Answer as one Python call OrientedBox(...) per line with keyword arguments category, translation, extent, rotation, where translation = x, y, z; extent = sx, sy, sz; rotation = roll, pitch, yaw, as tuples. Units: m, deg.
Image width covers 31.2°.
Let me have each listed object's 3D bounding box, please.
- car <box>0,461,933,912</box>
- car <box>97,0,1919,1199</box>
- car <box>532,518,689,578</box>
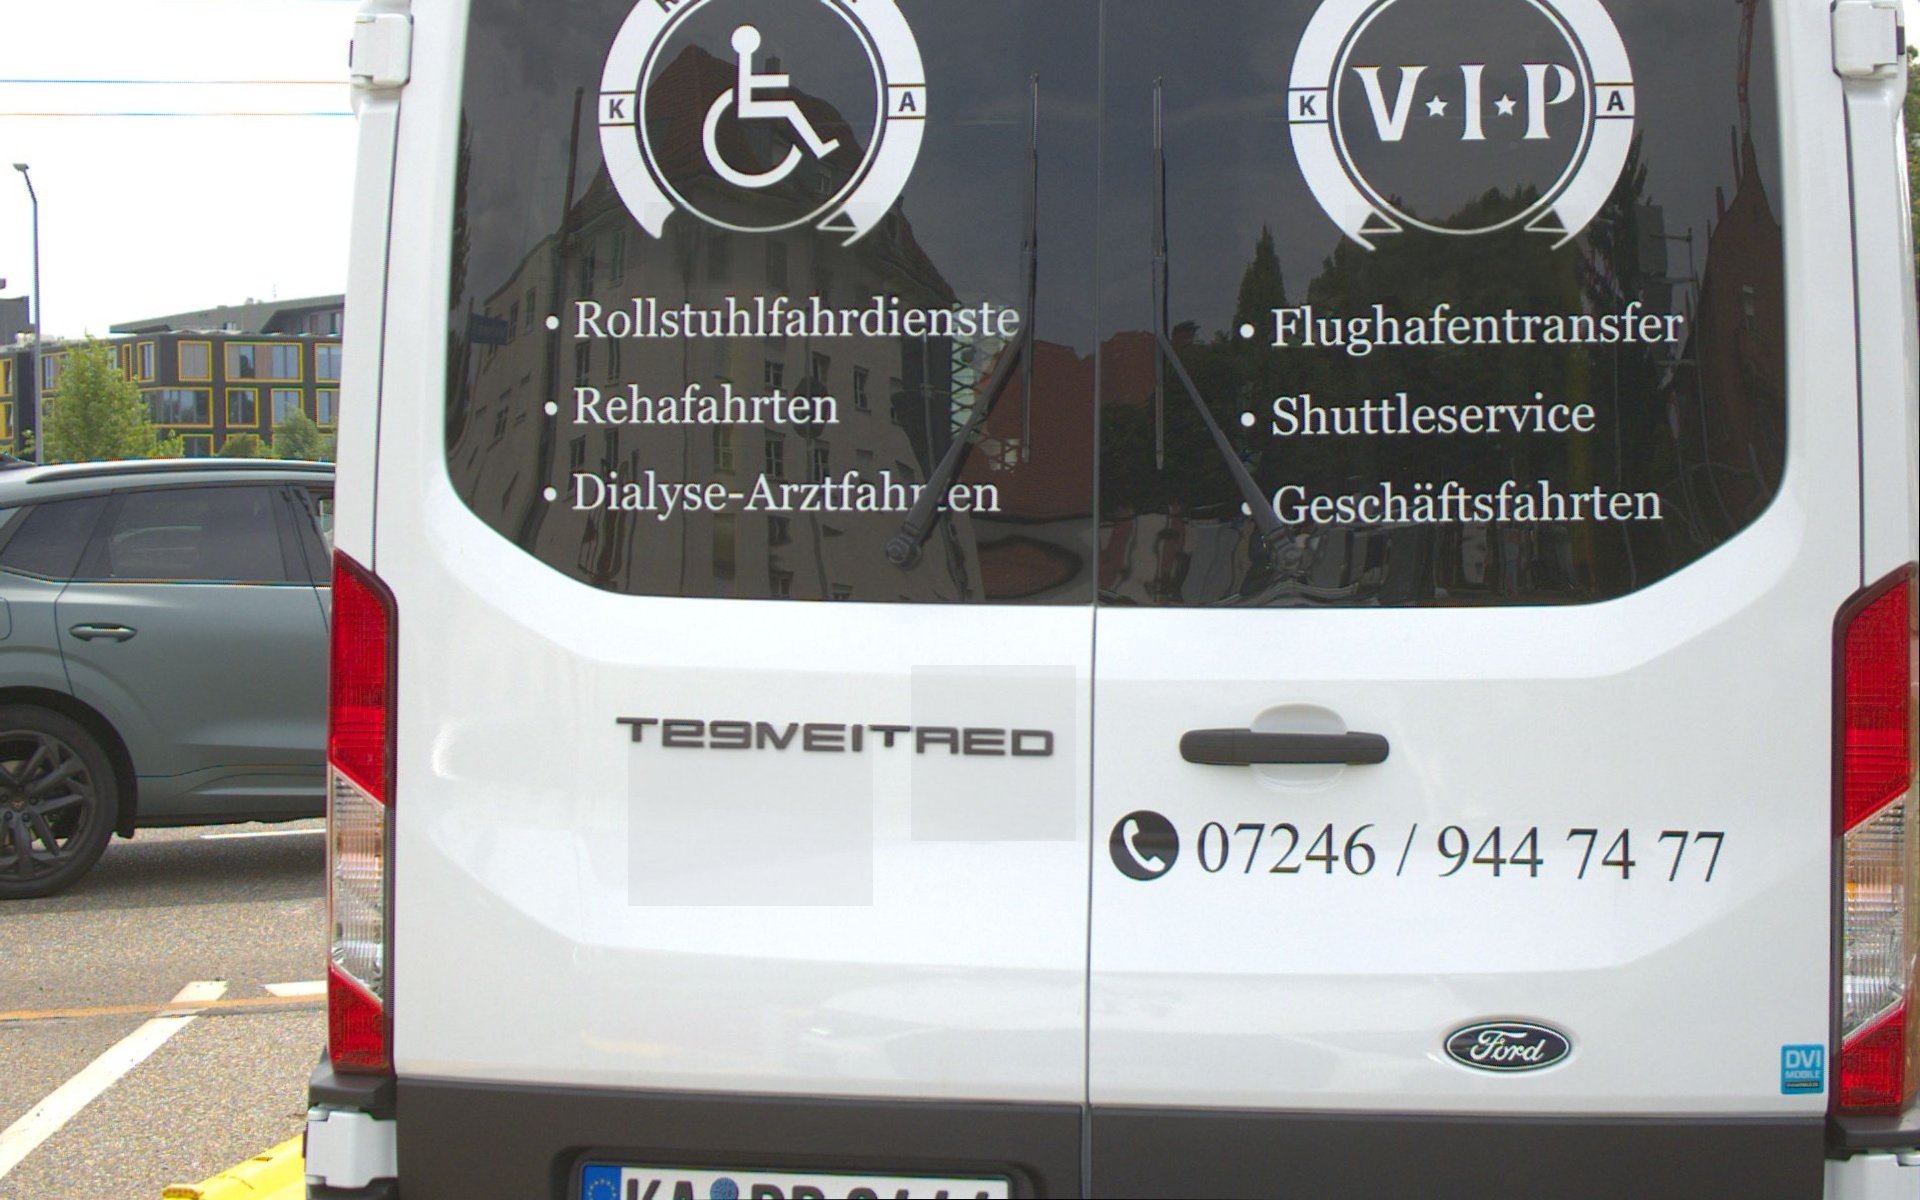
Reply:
OrientedBox(category="car", translation=(-2.568, 0.266, 13.462), extent=(4.459, 1.546, 2.065), rotation=(-2, 2, -21))
OrientedBox(category="car", translation=(0.346, 0.016, 6.466), extent=(2.126, 2.688, 5.631), rotation=(-1, 1, 4))
OrientedBox(category="car", translation=(-8.681, -1.297, 85.580), extent=(1.830, 1.458, 3.993), rotation=(0, 1, 32))
